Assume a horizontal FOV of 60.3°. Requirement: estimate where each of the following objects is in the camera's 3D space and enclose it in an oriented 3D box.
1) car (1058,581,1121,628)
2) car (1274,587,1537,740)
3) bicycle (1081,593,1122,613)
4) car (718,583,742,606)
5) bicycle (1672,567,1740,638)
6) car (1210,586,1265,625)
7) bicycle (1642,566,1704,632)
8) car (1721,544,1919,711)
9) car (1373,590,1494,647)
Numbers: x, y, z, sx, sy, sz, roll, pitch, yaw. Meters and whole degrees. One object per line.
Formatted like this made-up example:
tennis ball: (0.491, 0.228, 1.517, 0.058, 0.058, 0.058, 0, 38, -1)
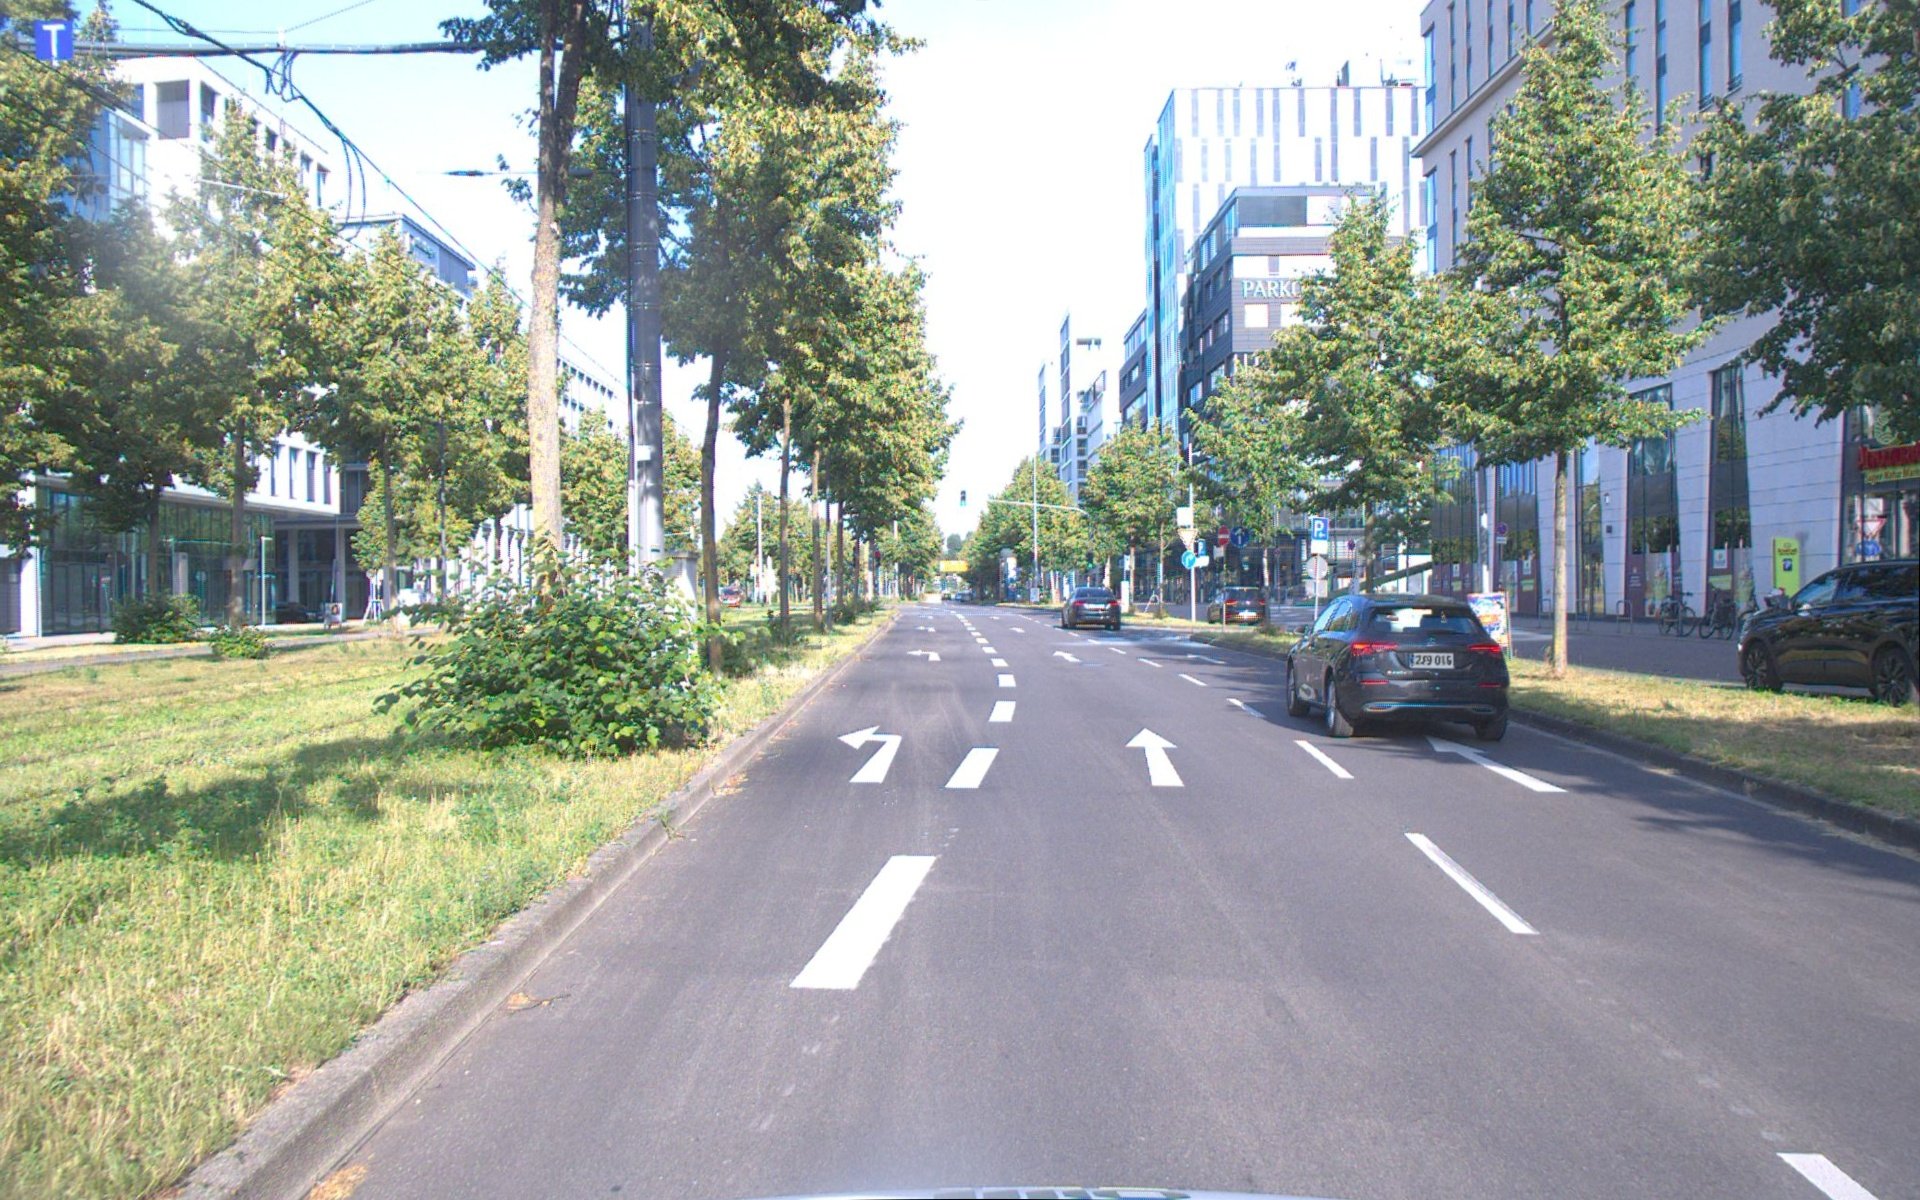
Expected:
car: (4.466, 0.160, 57.337, 1.822, 1.551, 3.785, 1, 0, -1)
car: (4.659, 0.615, 17.884, 1.738, 1.449, 3.960, 1, 0, -1)
bicycle: (7.478, 0.141, 87.508, 2.092, 1.030, 0.571, 1, 0, -5)
car: (-18.743, -0.422, 134.724, 1.651, 1.806, 3.879, 1, 0, -5)
bicycle: (17.245, 0.067, 38.285, 0.544, 1.594, 2.212, 1, 0, 0)
car: (10.203, 0.204, 60.959, 1.573, 1.394, 4.159, 1, 0, 4)
bicycle: (17.637, -0.017, 40.966, 0.544, 1.598, 2.276, 1, 0, 0)
car: (10.914, 0.270, 19.202, 1.859, 1.738, 4.676, 1, 1, -2)
car: (11.304, 0.429, 39.765, 1.674, 1.264, 3.904, 1, 0, -2)
